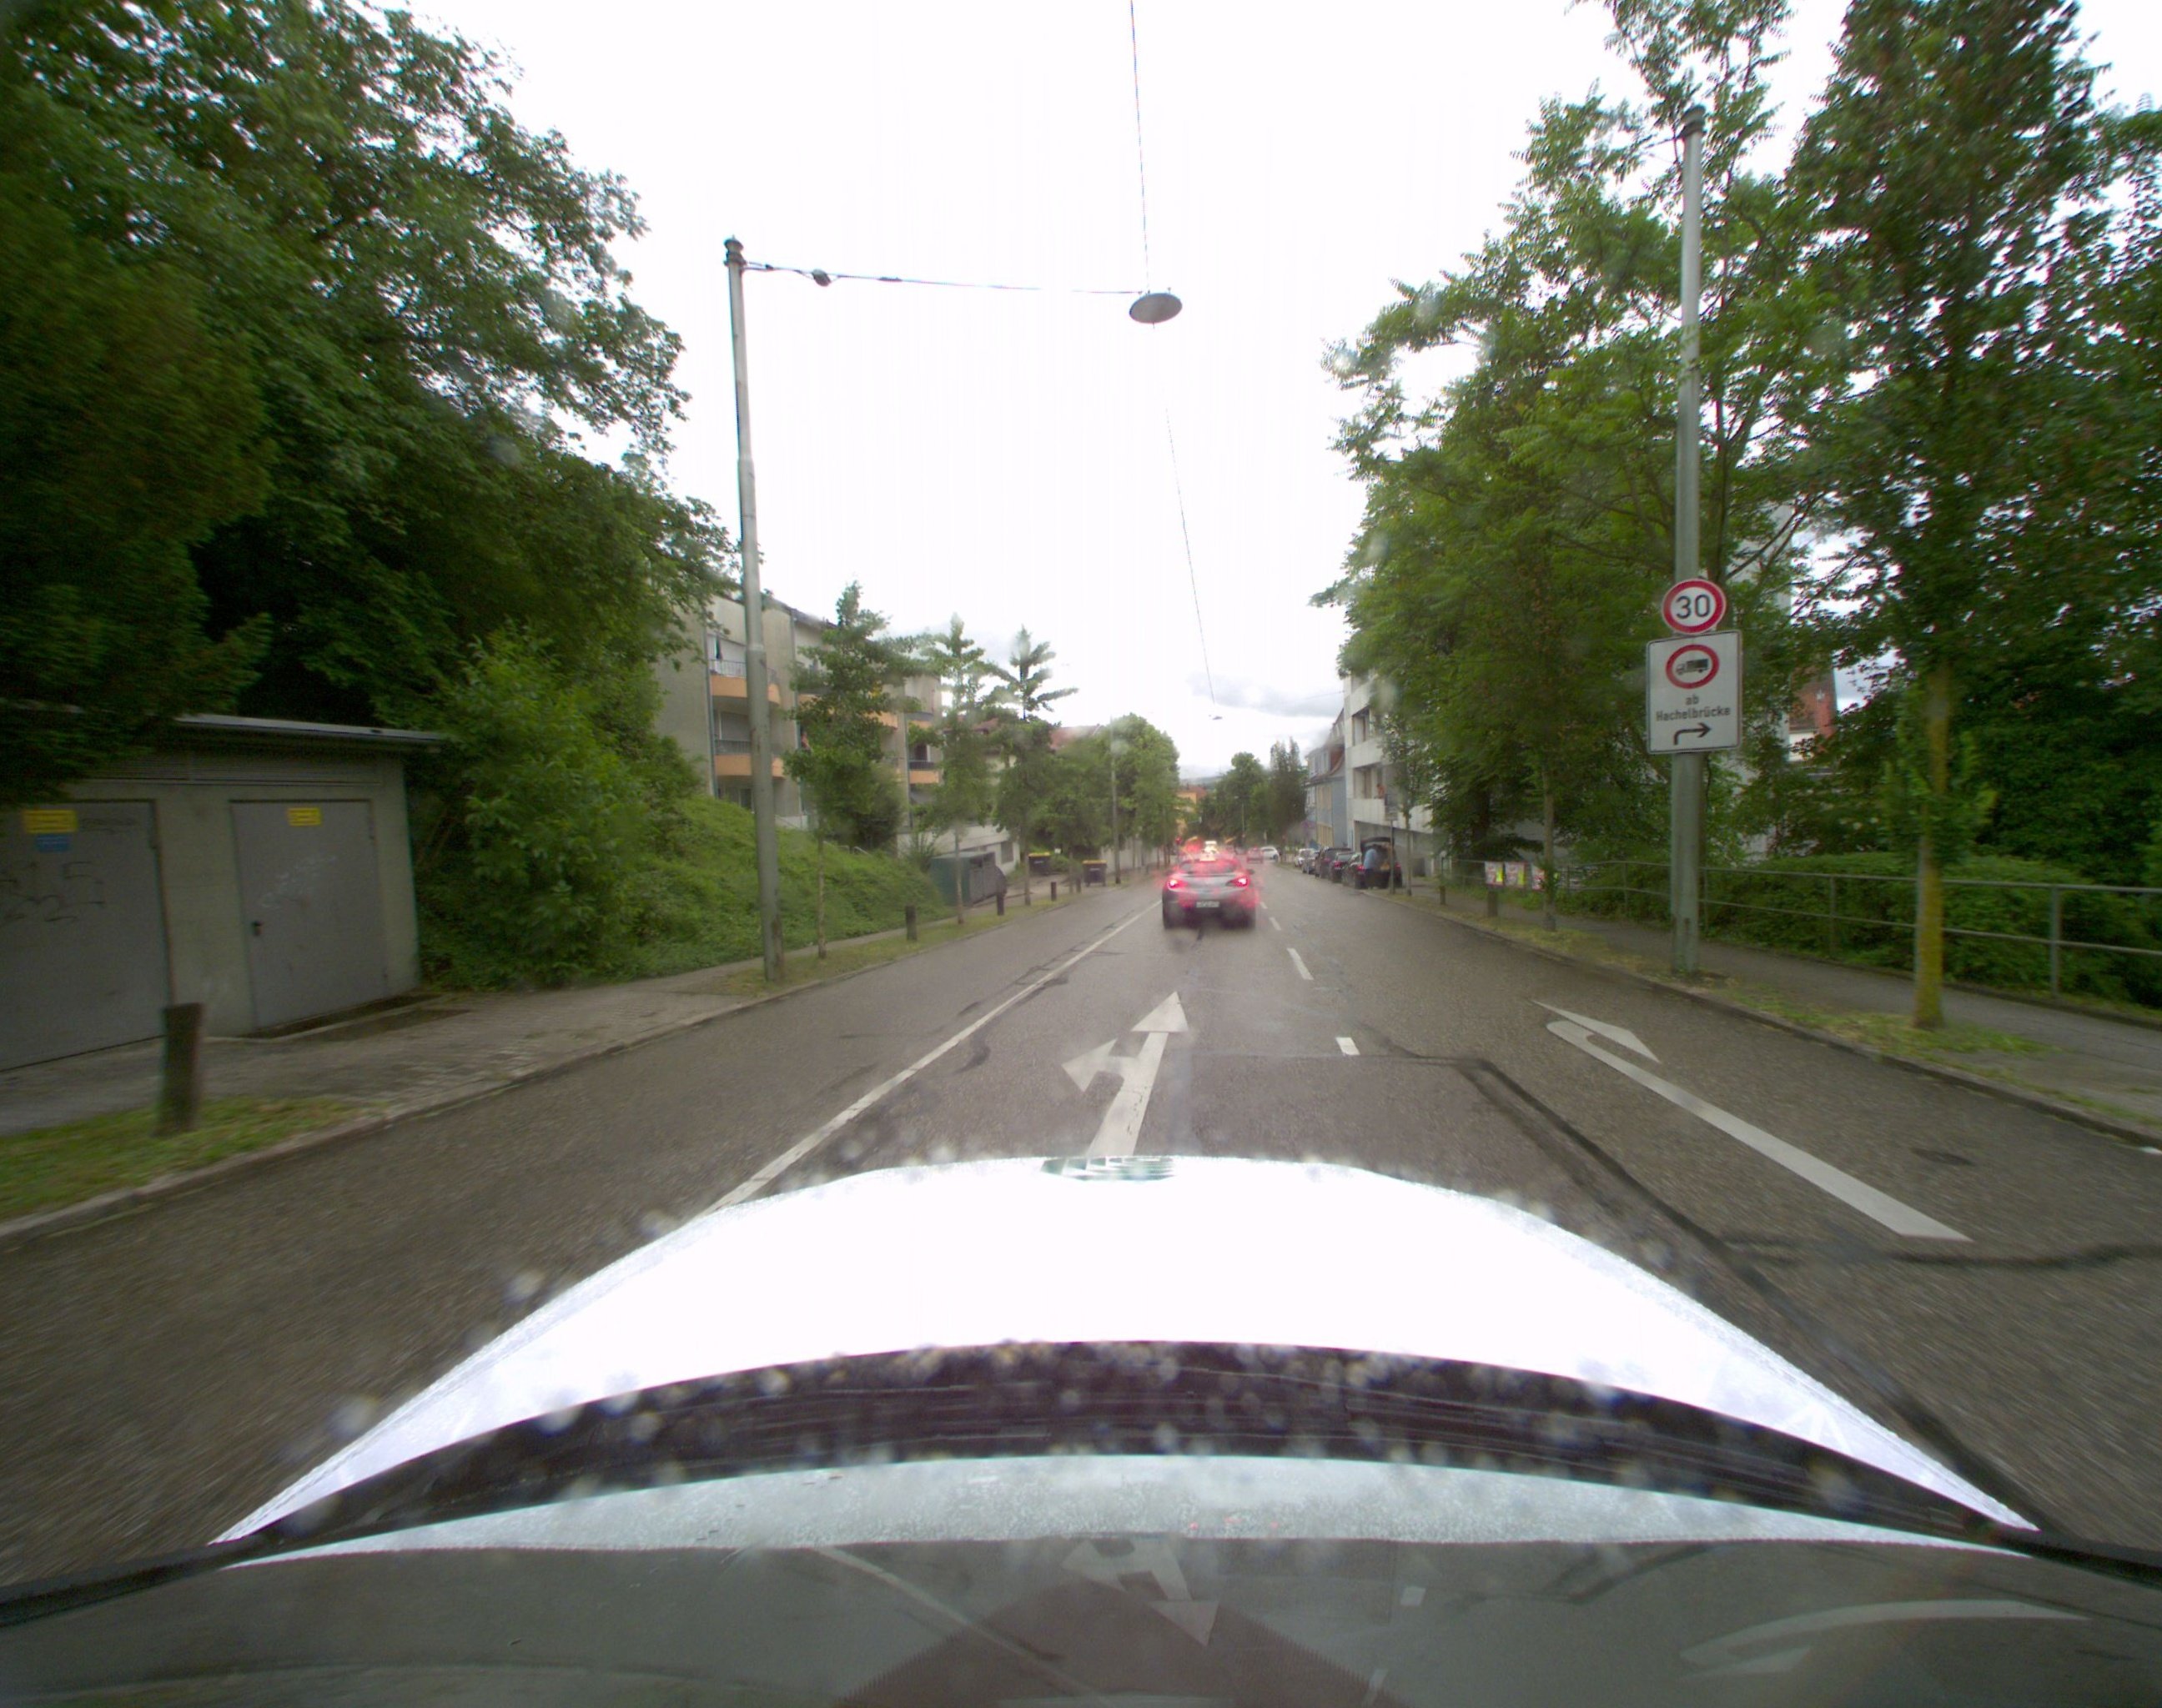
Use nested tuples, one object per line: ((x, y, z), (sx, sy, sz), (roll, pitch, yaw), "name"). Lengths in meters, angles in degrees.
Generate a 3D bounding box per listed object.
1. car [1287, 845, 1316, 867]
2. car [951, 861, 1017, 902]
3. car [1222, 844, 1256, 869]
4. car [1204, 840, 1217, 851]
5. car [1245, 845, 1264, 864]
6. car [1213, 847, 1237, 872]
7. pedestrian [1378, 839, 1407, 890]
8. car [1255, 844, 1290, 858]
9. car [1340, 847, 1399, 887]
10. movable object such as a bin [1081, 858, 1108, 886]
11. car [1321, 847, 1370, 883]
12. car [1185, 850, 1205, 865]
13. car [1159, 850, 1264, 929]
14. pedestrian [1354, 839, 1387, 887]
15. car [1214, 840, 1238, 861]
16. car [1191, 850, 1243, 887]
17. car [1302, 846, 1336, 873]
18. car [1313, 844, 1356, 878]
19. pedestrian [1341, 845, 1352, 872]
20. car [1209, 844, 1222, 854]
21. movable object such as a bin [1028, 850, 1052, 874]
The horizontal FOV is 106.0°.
((17.652, 0.169, 65.233), (1.894, 1.570, 4.013), (-3, 1, 11), "car")
((-4.074, 1.131, 34.795), (1.732, 1.456, 3.893), (-6, -1, 8), "car")
((9.916, 0.137, 51.283), (1.949, 1.472, 3.961), (1, 1, 8), "car")
((21.911, -1.448, 137.624), (1.981, 1.784, 4.013), (1, 1, 11), "car")
((19.593, 0.056, 92.103), (1.981, 2.036, 4.749), (1, 1, 11), "car")
((11.269, 0.412, 63.767), (1.758, 1.781, 3.986), (1, 1, 9), "car")
((11.633, 0.382, 30.420), (0.685, 1.836, 0.665), (-5, 0, -2), "pedestrian")
((24.687, -0.381, 105.141), (3.847, 1.479, 1.824), (-6, 0, -7), "car")
((11.501, 0.494, 32.687), (1.495, 1.435, 4.010), (-3, 0, 9), "car")
((0.700, 0.914, 41.384), (1.265, 1.387, 0.490), (-1, 1, 8), "movable object such as a bin")
((12.389, 0.488, 38.373), (1.670, 1.464, 4.013), (-3, 1, 11), "car")
((12.630, 0.412, 90.020), (1.838, 1.469, 4.100), (-6, -1, 11), "car")
((2.677, 0.676, 17.353), (1.935, 1.432, 3.891), (-2, 0, 6), "car")
((10.818, 0.342, 30.420), (0.736, 1.723, 0.761), (-5, 0, -15), "pedestrian")
((15.004, -0.374, 84.280), (2.319, 2.036, 4.750), (1, 1, 11), "car")
((5.480, 0.561, 33.228), (1.789, 1.323, 4.006), (-1, 1, 5), "car")
((14.621, 0.308, 50.263), (1.574, 1.493, 4.304), (-3, 1, 11), "car")
((13.345, 0.328, 43.033), (1.675, 1.570, 4.013), (-3, 1, 11), "car")
((17.886, 0.297, 54.886), (0.641, 1.784, 0.543), (-2, 1, 11), "pedestrian")
((21.516, -0.872, 130.310), (1.981, 1.536, 4.322), (1, 1, 11), "car")
((-2.405, 0.466, 47.695), (1.265, 1.387, 0.490), (-1, 1, 8), "movable object such as a bin")
